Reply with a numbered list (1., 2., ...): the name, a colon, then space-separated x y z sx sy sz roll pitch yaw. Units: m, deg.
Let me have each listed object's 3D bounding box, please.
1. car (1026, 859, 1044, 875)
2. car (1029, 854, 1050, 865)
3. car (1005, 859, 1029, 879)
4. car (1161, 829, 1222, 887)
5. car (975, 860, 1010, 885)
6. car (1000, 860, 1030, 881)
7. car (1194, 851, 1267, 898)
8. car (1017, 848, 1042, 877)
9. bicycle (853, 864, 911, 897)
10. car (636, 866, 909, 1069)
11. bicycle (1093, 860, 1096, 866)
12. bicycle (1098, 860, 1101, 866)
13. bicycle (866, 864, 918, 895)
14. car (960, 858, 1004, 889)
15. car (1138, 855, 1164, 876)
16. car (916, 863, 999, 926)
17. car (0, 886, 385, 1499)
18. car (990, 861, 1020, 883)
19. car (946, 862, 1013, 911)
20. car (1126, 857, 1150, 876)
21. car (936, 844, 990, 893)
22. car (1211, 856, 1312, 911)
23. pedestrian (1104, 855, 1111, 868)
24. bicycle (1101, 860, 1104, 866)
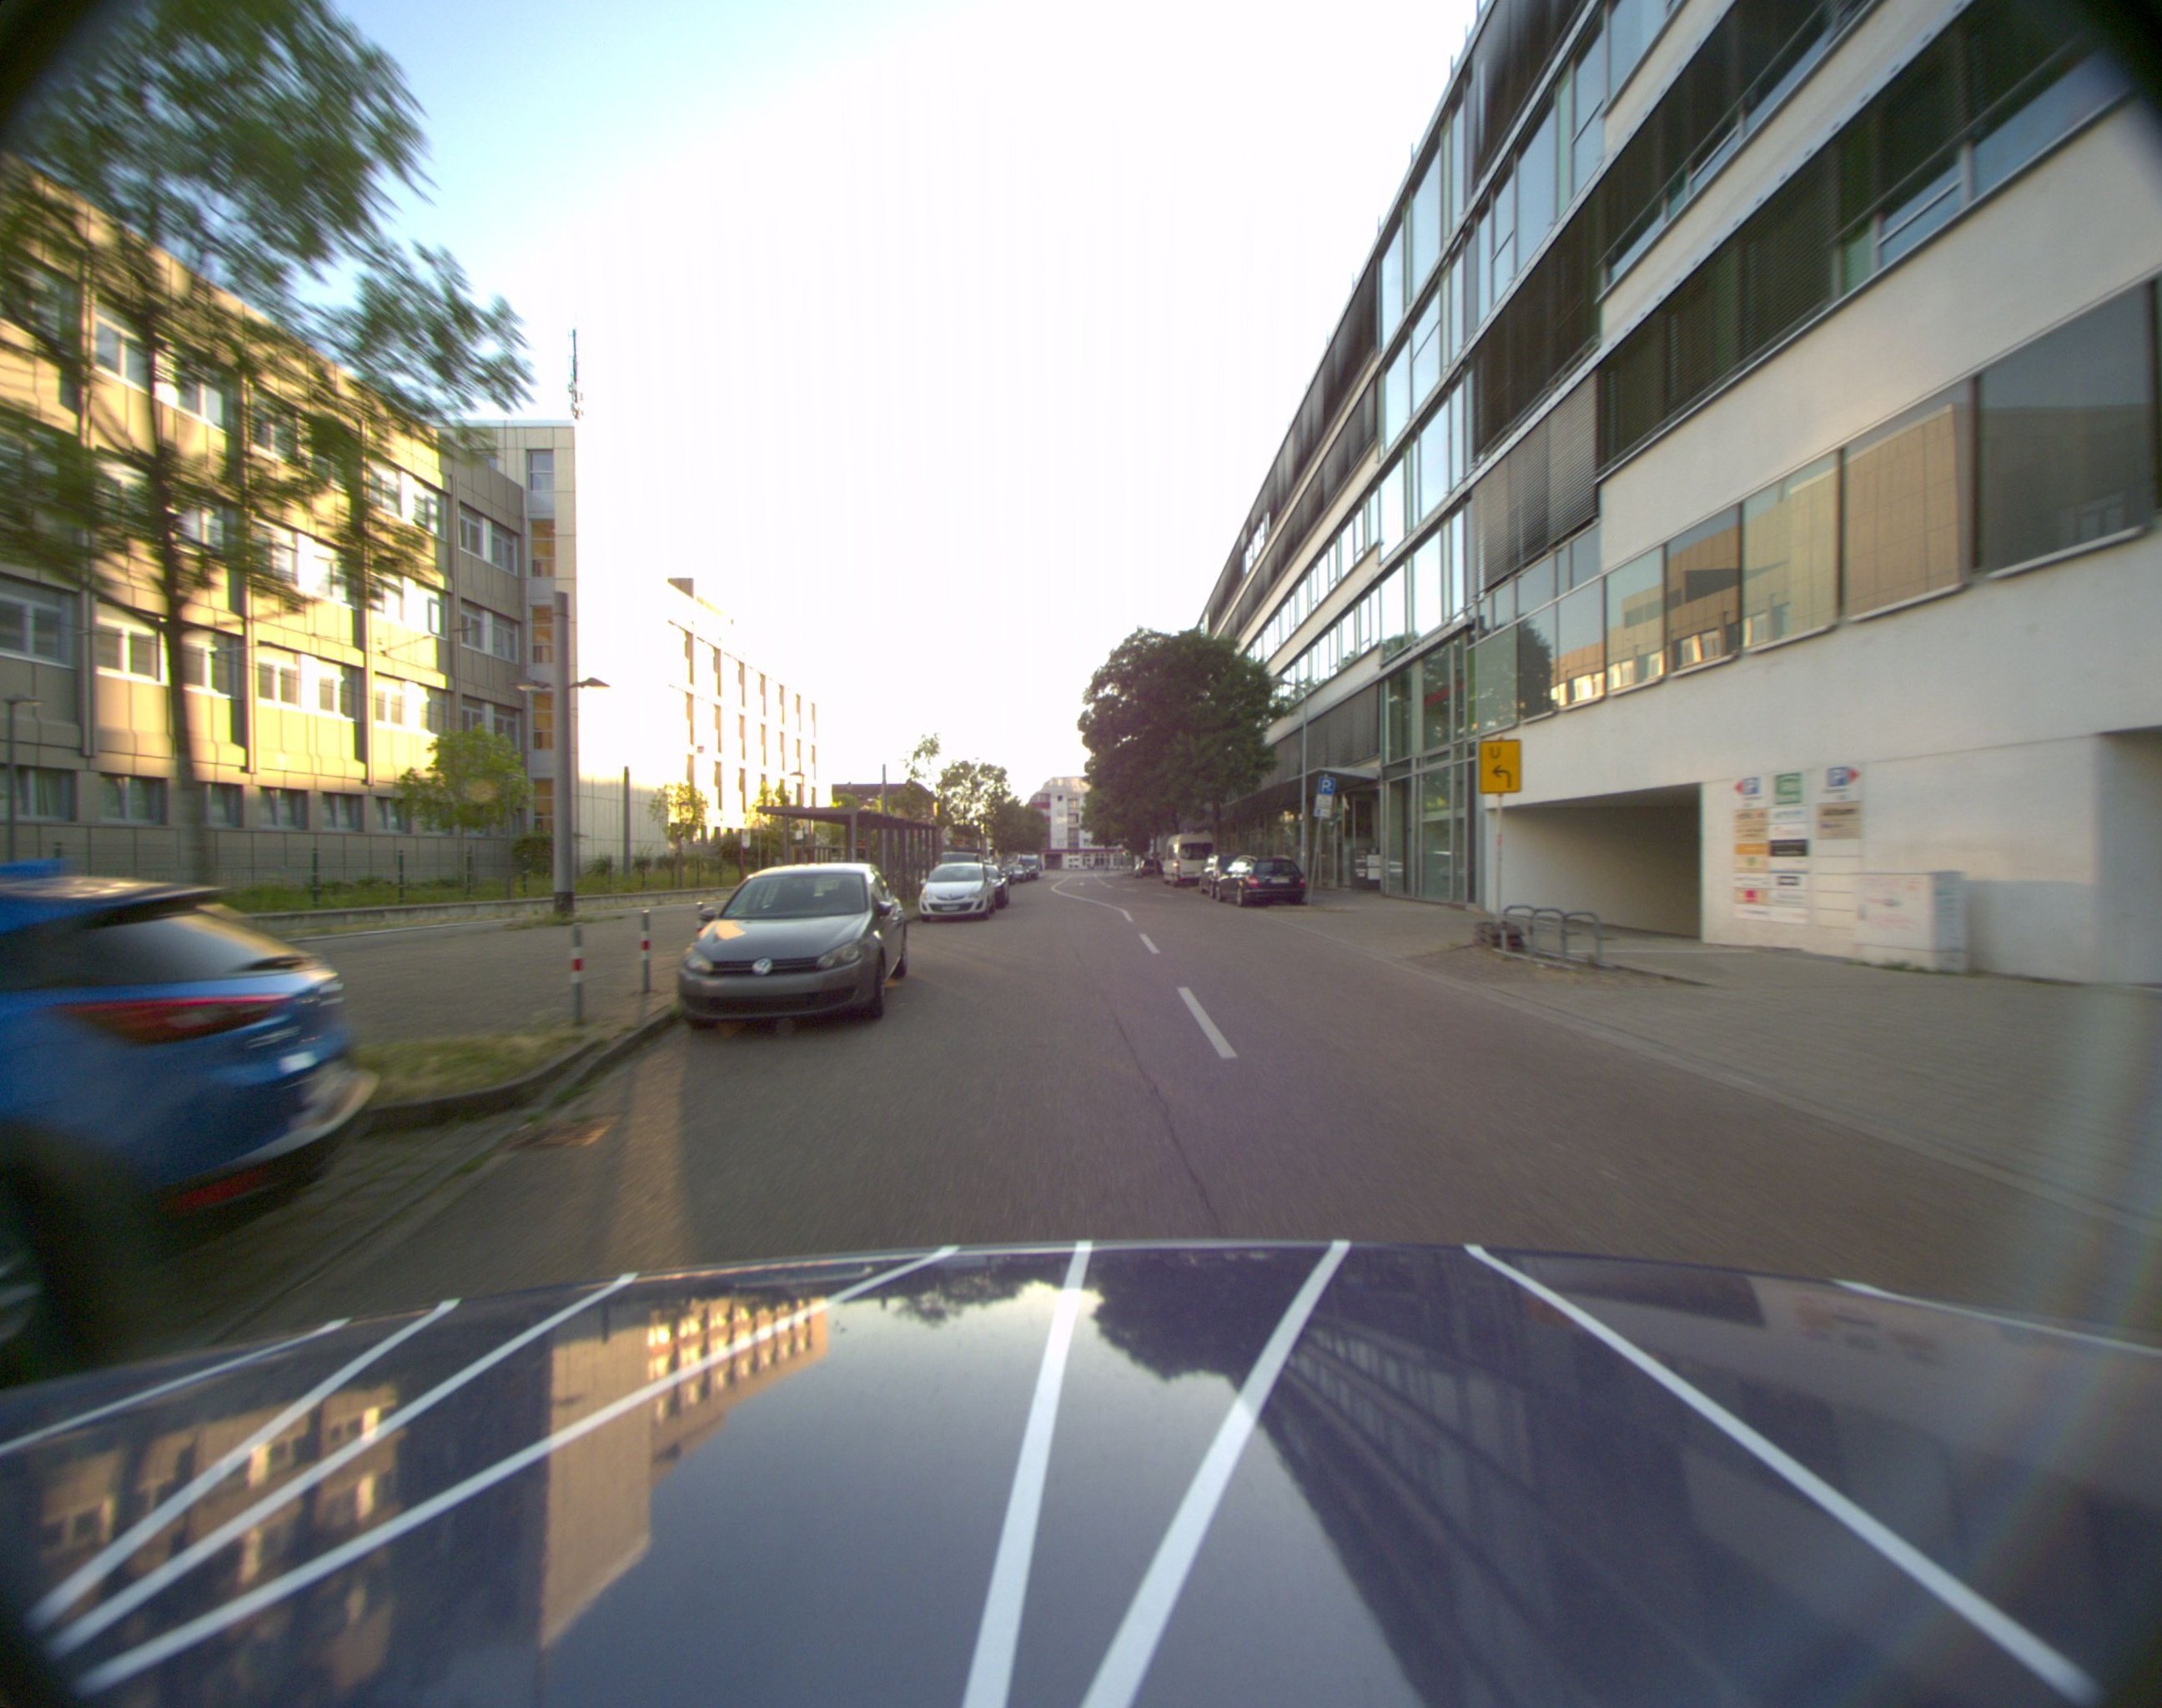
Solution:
1. car: -4.926 1.396 82.008 1.752 1.574 4.012 3 0 -2
2. car: -6.848 0.909 124.722 1.756 1.668 4.264 -1 0 -26
3. car: -5.506 1.275 65.983 1.712 1.633 4.267 1 0 0
4. car: 5.510 0.202 38.856 2.105 2.648 6.951 -1 0 1
5. car: -5.508 1.147 47.901 1.712 1.484 4.130 1 0 0
6. car: -5.234 1.296 61.053 1.800 1.487 4.781 3 0 2
7. car: 5.368 0.692 27.814 1.848 1.562 4.267 -1 0 1
8. car: -5.027 0.786 74.854 2.056 2.641 5.434 3 0 -1
9. bicycle: -6.623 0.875 25.348 1.810 1.060 0.487 0 1 0
10. car: -2.915 0.932 8.125 1.737 1.457 3.997 -3 1 -8
11. bicycle: 2.550 1.728 141.003 0.515 1.040 1.902 0 0 -2
12. bicycle: 3.399 1.687 141.088 0.515 1.040 1.902 0 0 -2
13. bicycle: -6.570 0.884 26.451 1.724 1.060 0.421 0 1 0
14. car: -5.346 1.028 41.509 1.711 1.571 4.479 1 0 2
15. car: 5.627 0.909 61.216 1.594 1.559 4.471 -4 0 0
16. car: -3.181 0.994 20.346 1.680 1.443 4.186 -1 0 -2
17. car: -4.640 0.933 1.919 4.007 1.512 1.922 0 1 -35
18. car: -5.352 1.254 53.663 1.712 1.443 4.000 1 0 0
19. car: -3.281 1.017 25.303 1.792 1.443 4.514 -1 0 -3
20. car: 4.940 1.079 66.401 1.707 1.453 4.627 -4 0 0
21. car: -5.534 0.651 36.186 1.809 2.164 4.735 1 0 0
22. car: 5.247 0.803 22.695 1.720 1.443 4.398 -1 0 -4
23. pedestrian: 3.507 0.966 100.758 0.545 1.691 0.709 0 0 28
24. bicycle: 3.999 1.721 141.059 0.515 1.040 1.902 0 0 -2
